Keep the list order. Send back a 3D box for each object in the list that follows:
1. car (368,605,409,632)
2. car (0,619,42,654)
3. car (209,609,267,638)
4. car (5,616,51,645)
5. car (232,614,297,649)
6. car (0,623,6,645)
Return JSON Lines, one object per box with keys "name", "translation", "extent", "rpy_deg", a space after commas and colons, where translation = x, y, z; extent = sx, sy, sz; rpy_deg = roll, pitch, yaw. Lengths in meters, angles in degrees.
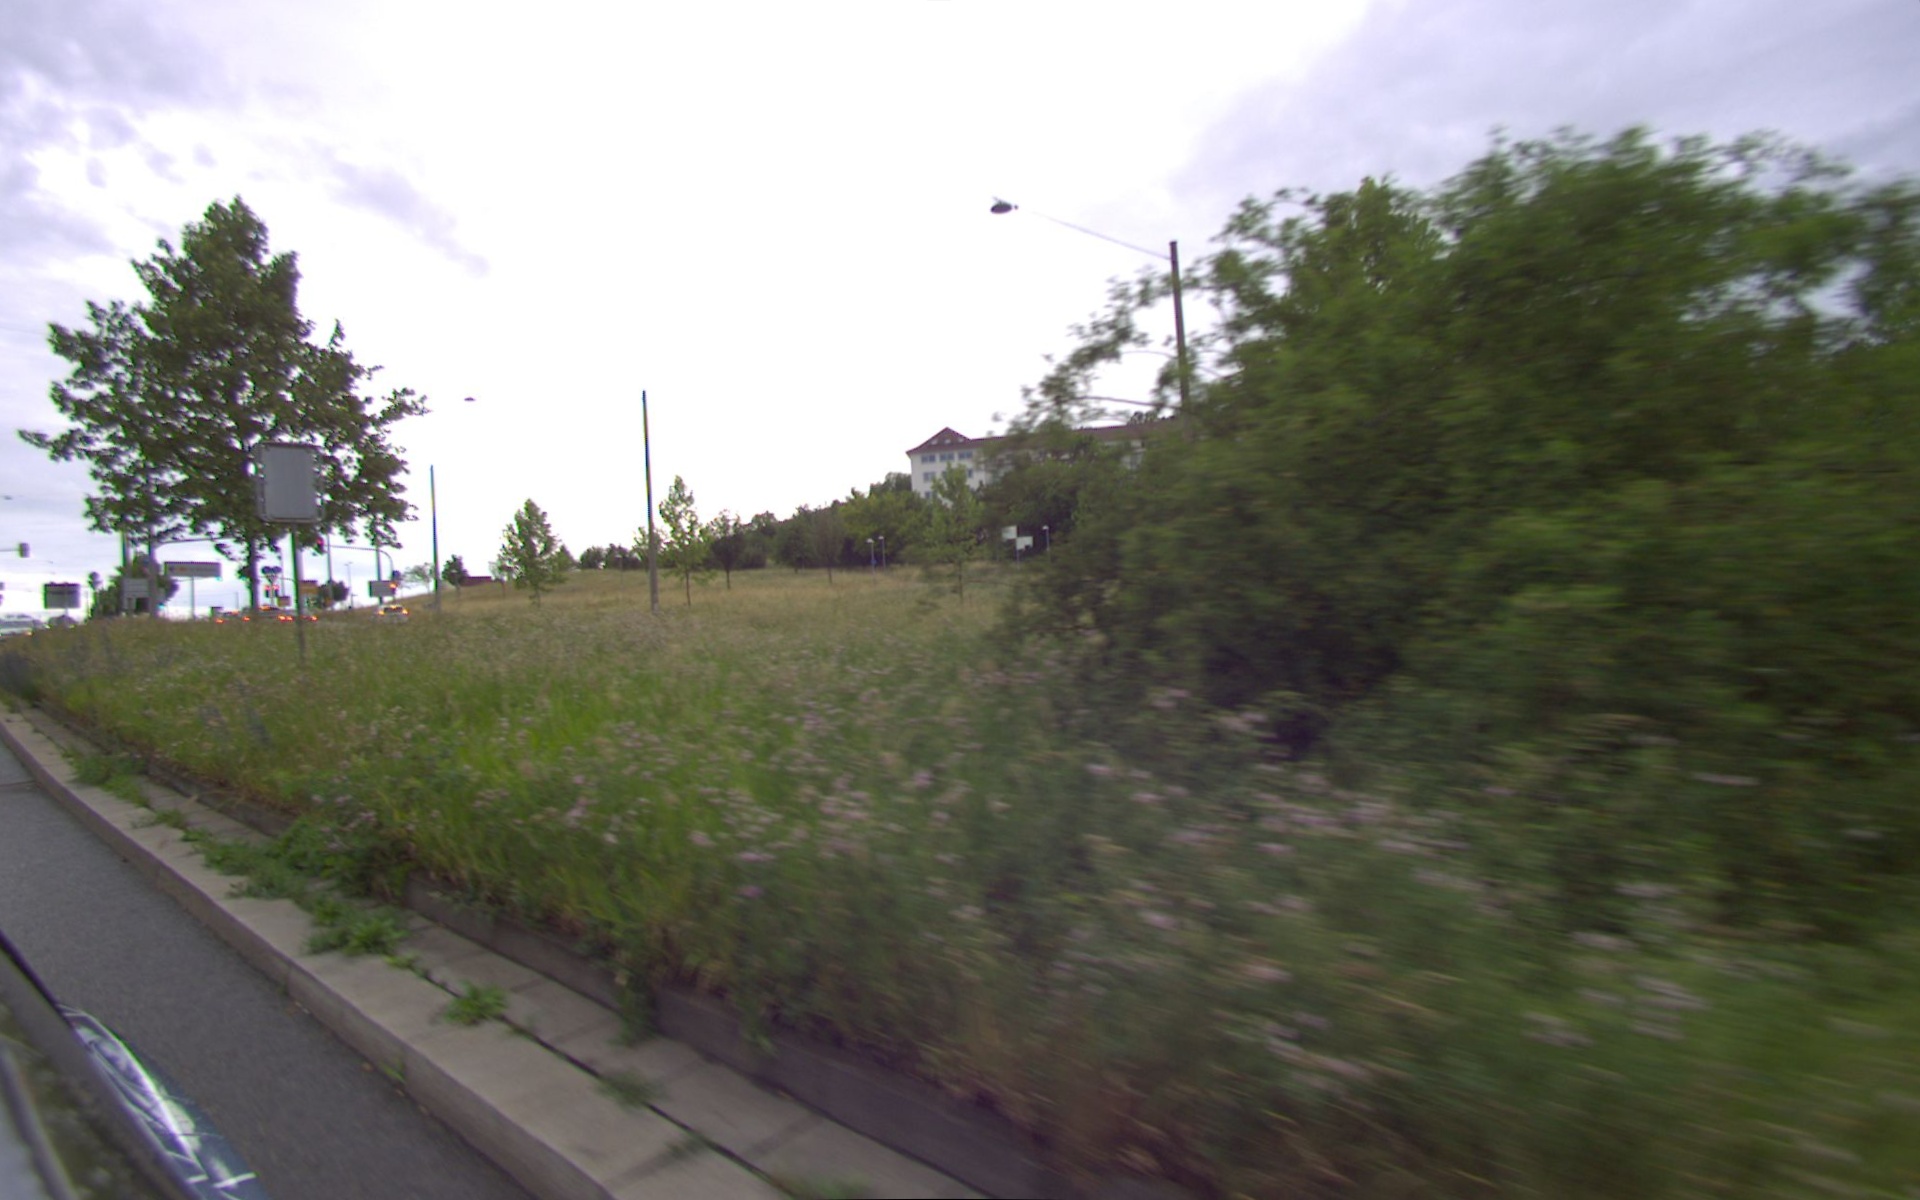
{"name": "car", "translation": [-38.456, 1.232, 68.098], "extent": [1.967, 1.656, 4.811], "rpy_deg": [-3, 1, -34]}
{"name": "car", "translation": [-50.454, 1.984, 54.096], "extent": [1.969, 1.785, 4.005], "rpy_deg": [2, -4, -42]}
{"name": "car", "translation": [-39.792, 1.294, 55.753], "extent": [1.938, 1.433, 4.441], "rpy_deg": [-3, 1, -43]}
{"name": "car", "translation": [-58.778, 1.906, 63.875], "extent": [1.969, 1.785, 4.006], "rpy_deg": [0, -1, -41]}
{"name": "car", "translation": [-34.801, 1.559, 50.579], "extent": [1.970, 1.523, 4.441], "rpy_deg": [-3, 1, -43]}
{"name": "car", "translation": [-72.174, 2.561, 75.002], "extent": [1.755, 1.613, 4.128], "rpy_deg": [-2, 0, -38]}
